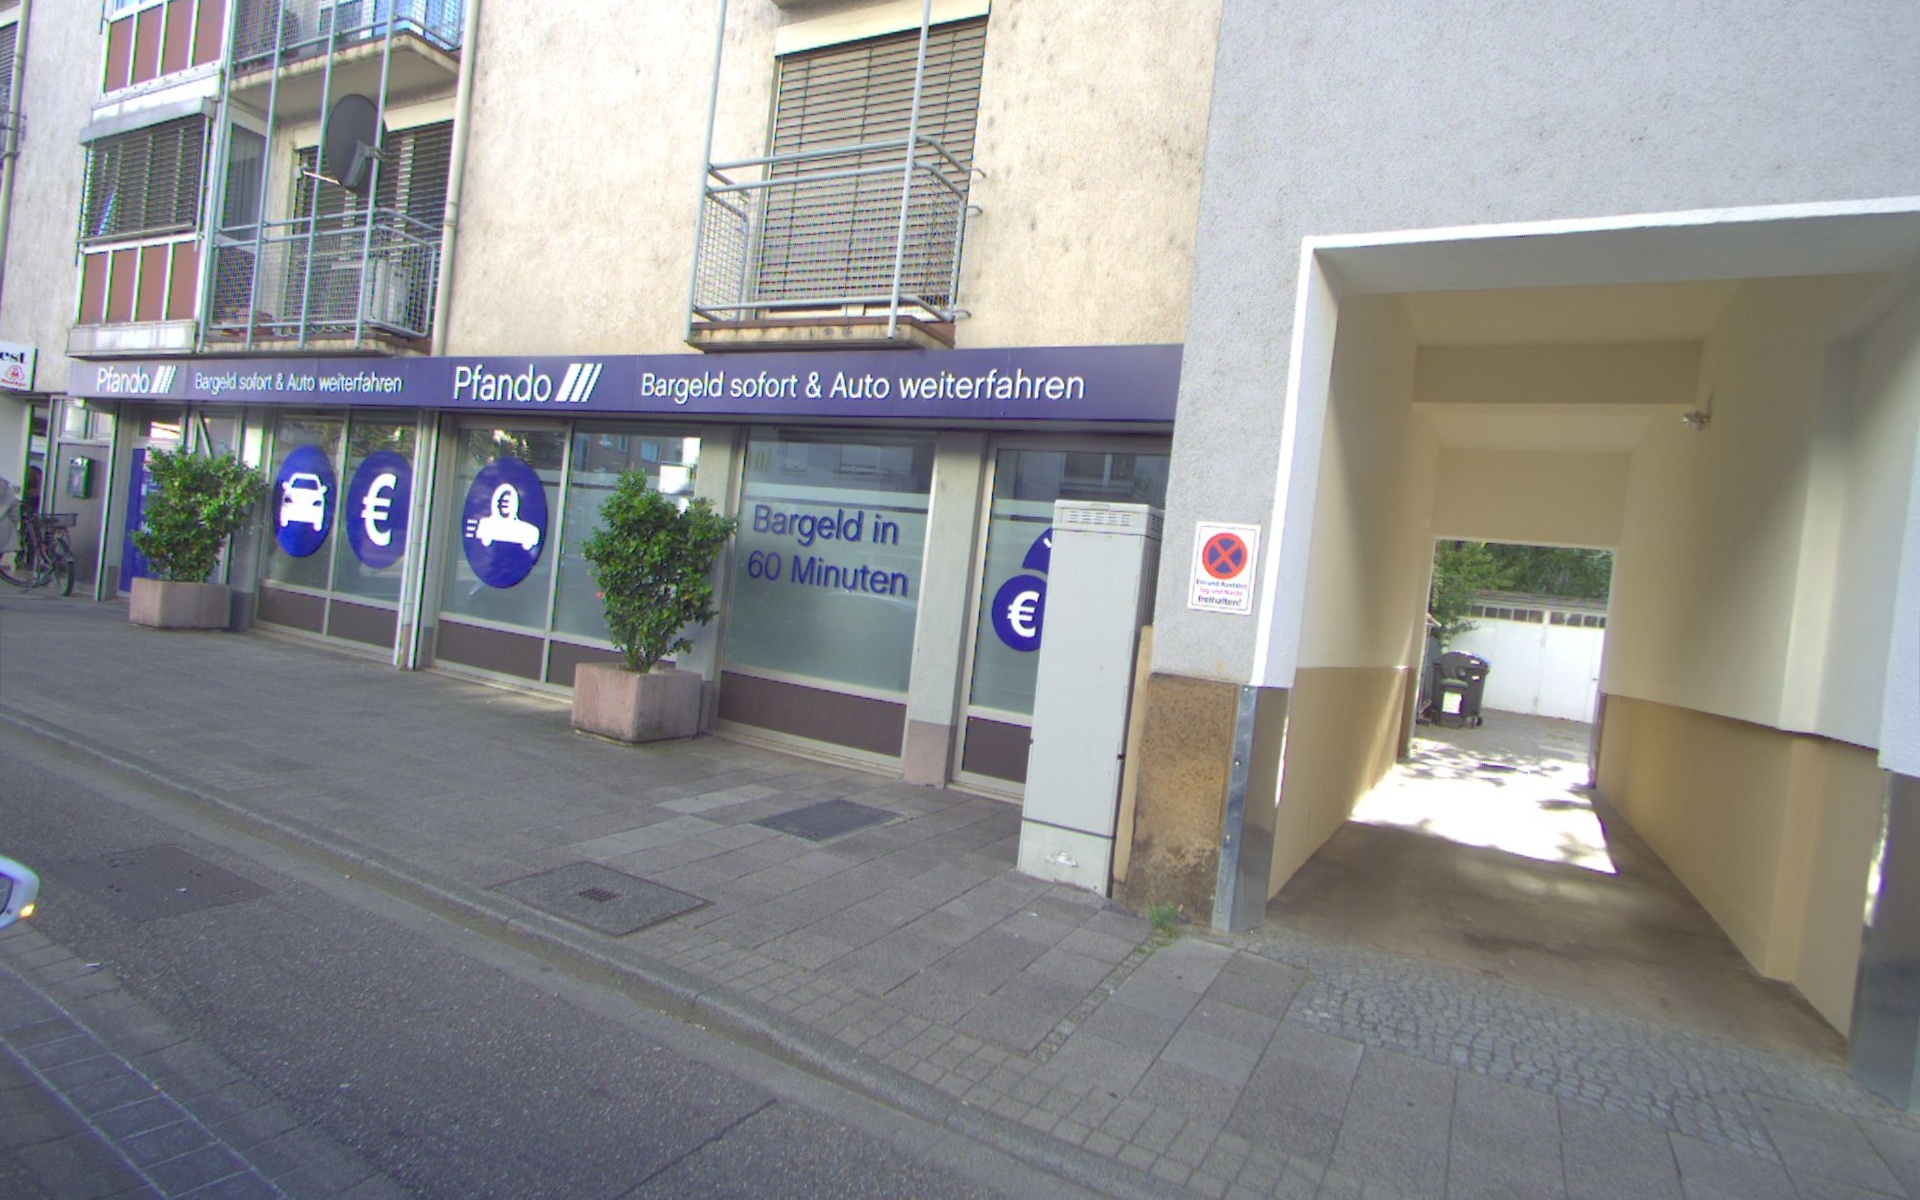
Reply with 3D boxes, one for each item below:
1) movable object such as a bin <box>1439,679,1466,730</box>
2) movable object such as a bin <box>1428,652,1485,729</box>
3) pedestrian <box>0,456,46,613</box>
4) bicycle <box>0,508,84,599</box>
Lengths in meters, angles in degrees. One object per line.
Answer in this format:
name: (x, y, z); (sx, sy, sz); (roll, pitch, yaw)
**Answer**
movable object such as a bin: (9.525, 2.008, 19.451); (0.365, 0.920, 0.420); (7, 2, 28)
movable object such as a bin: (9.962, 1.791, 20.171); (0.873, 1.411, 0.758); (7, 2, 28)
pedestrian: (-10.415, -0.741, 10.607); (0.738, 1.611, 0.827); (6, -1, 31)
bicycle: (-11.900, -0.616, 12.829); (1.678, 1.010, 0.543); (6, -1, 32)
